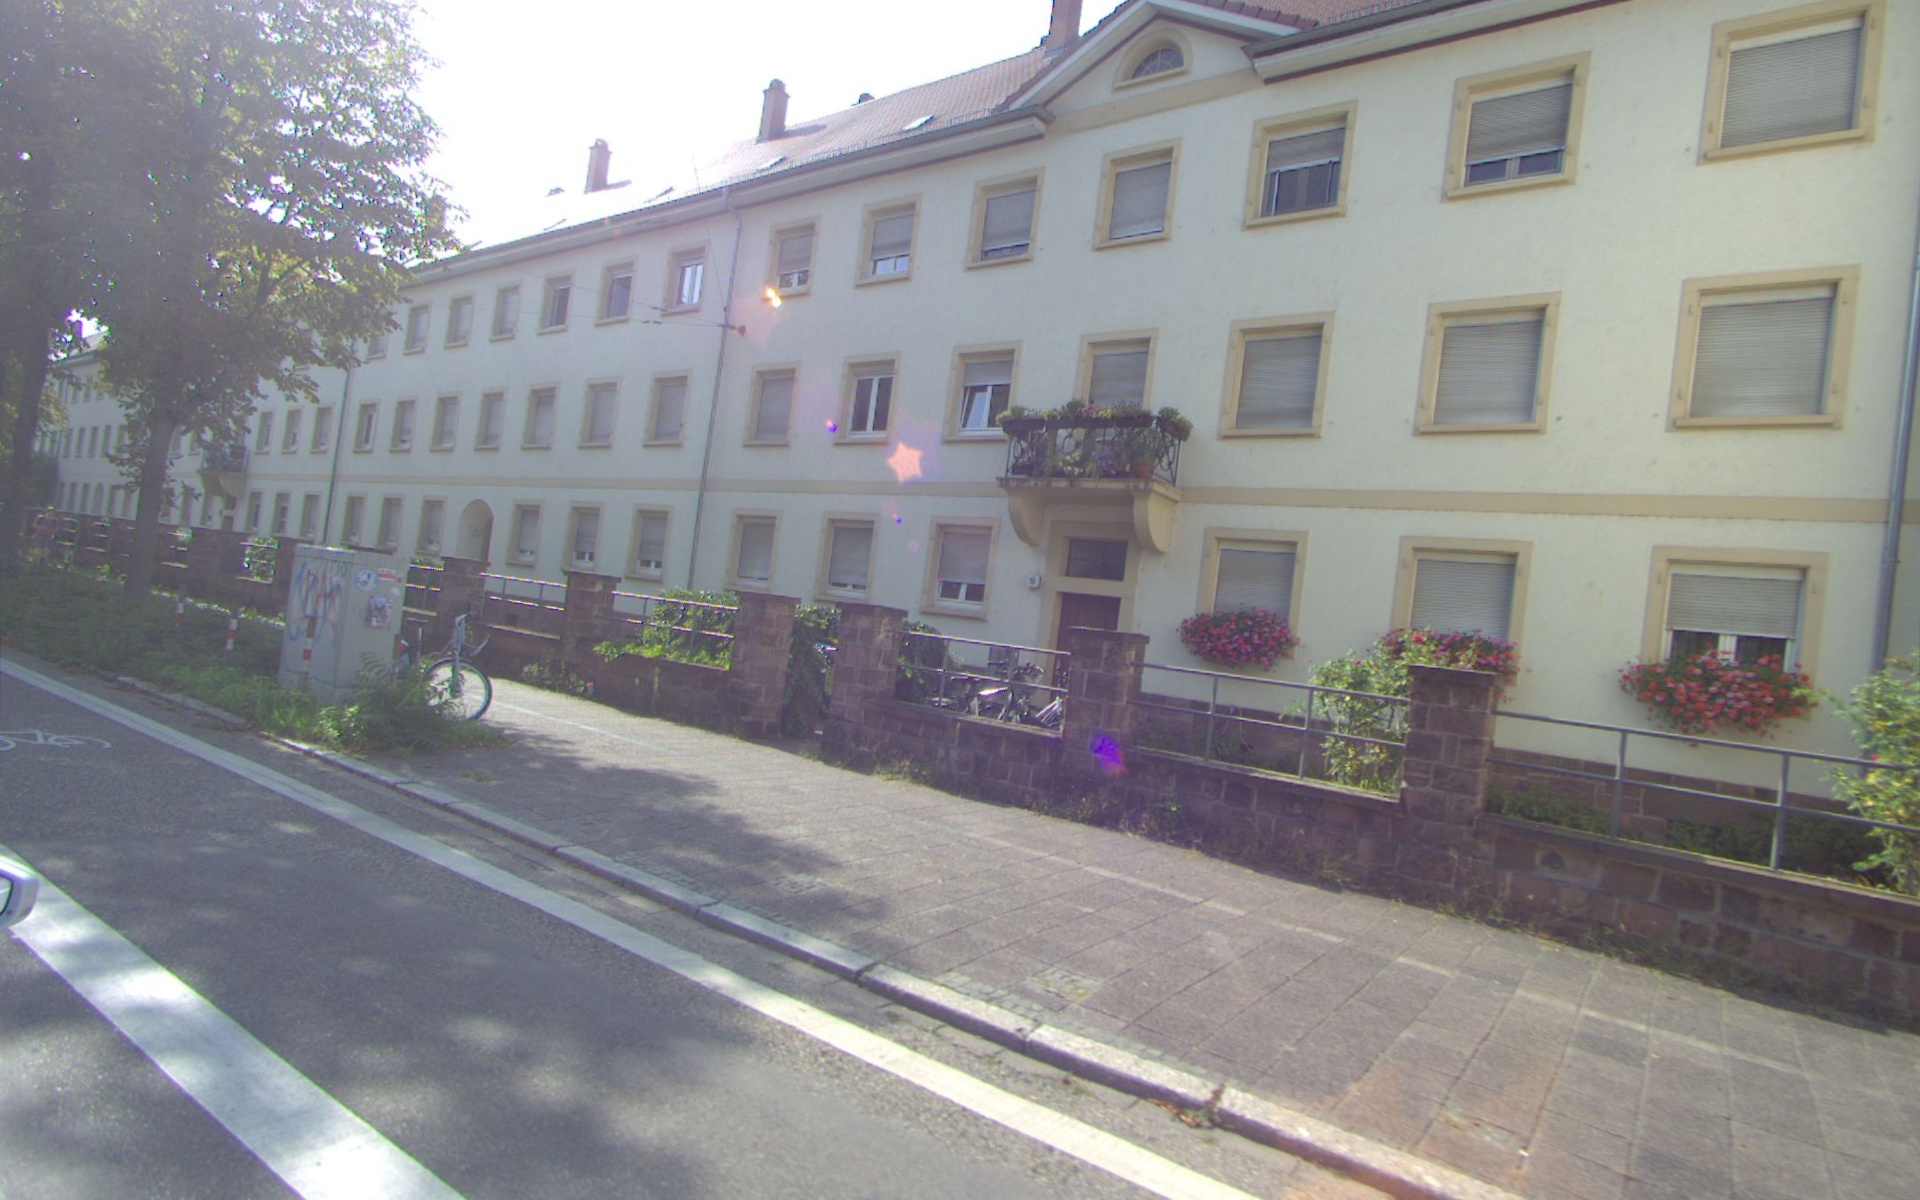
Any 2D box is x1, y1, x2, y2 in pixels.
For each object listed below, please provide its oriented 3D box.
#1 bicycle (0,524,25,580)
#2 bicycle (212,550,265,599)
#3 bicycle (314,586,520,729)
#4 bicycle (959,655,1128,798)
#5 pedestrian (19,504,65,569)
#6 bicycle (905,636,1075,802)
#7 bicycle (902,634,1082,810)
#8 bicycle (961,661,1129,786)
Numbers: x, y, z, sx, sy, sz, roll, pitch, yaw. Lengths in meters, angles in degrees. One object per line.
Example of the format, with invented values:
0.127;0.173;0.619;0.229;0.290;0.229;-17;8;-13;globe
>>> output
-19.508;-1.018;19.911;0.517;1.085;1.726;8;-3;-11;bicycle
-18.394;-0.658;25.642;1.703;1.085;0.524;6;-3;38;bicycle
-5.535;0.557;10.189;2.297;1.116;0.772;6;-2;35;bicycle
0.853;1.310;10.656;1.716;1.229;0.454;6;-3;42;bicycle
-26.777;-1.847;29.355;0.867;1.769;0.751;6;-2;44;pedestrian
0.284;1.217;10.617;1.716;1.471;0.454;6;-3;42;bicycle
0.284;1.170;9.991;1.716;1.471;0.454;6;-3;42;bicycle
0.947;1.404;11.731;0.520;1.138;2.003;10;-3;-42;bicycle
